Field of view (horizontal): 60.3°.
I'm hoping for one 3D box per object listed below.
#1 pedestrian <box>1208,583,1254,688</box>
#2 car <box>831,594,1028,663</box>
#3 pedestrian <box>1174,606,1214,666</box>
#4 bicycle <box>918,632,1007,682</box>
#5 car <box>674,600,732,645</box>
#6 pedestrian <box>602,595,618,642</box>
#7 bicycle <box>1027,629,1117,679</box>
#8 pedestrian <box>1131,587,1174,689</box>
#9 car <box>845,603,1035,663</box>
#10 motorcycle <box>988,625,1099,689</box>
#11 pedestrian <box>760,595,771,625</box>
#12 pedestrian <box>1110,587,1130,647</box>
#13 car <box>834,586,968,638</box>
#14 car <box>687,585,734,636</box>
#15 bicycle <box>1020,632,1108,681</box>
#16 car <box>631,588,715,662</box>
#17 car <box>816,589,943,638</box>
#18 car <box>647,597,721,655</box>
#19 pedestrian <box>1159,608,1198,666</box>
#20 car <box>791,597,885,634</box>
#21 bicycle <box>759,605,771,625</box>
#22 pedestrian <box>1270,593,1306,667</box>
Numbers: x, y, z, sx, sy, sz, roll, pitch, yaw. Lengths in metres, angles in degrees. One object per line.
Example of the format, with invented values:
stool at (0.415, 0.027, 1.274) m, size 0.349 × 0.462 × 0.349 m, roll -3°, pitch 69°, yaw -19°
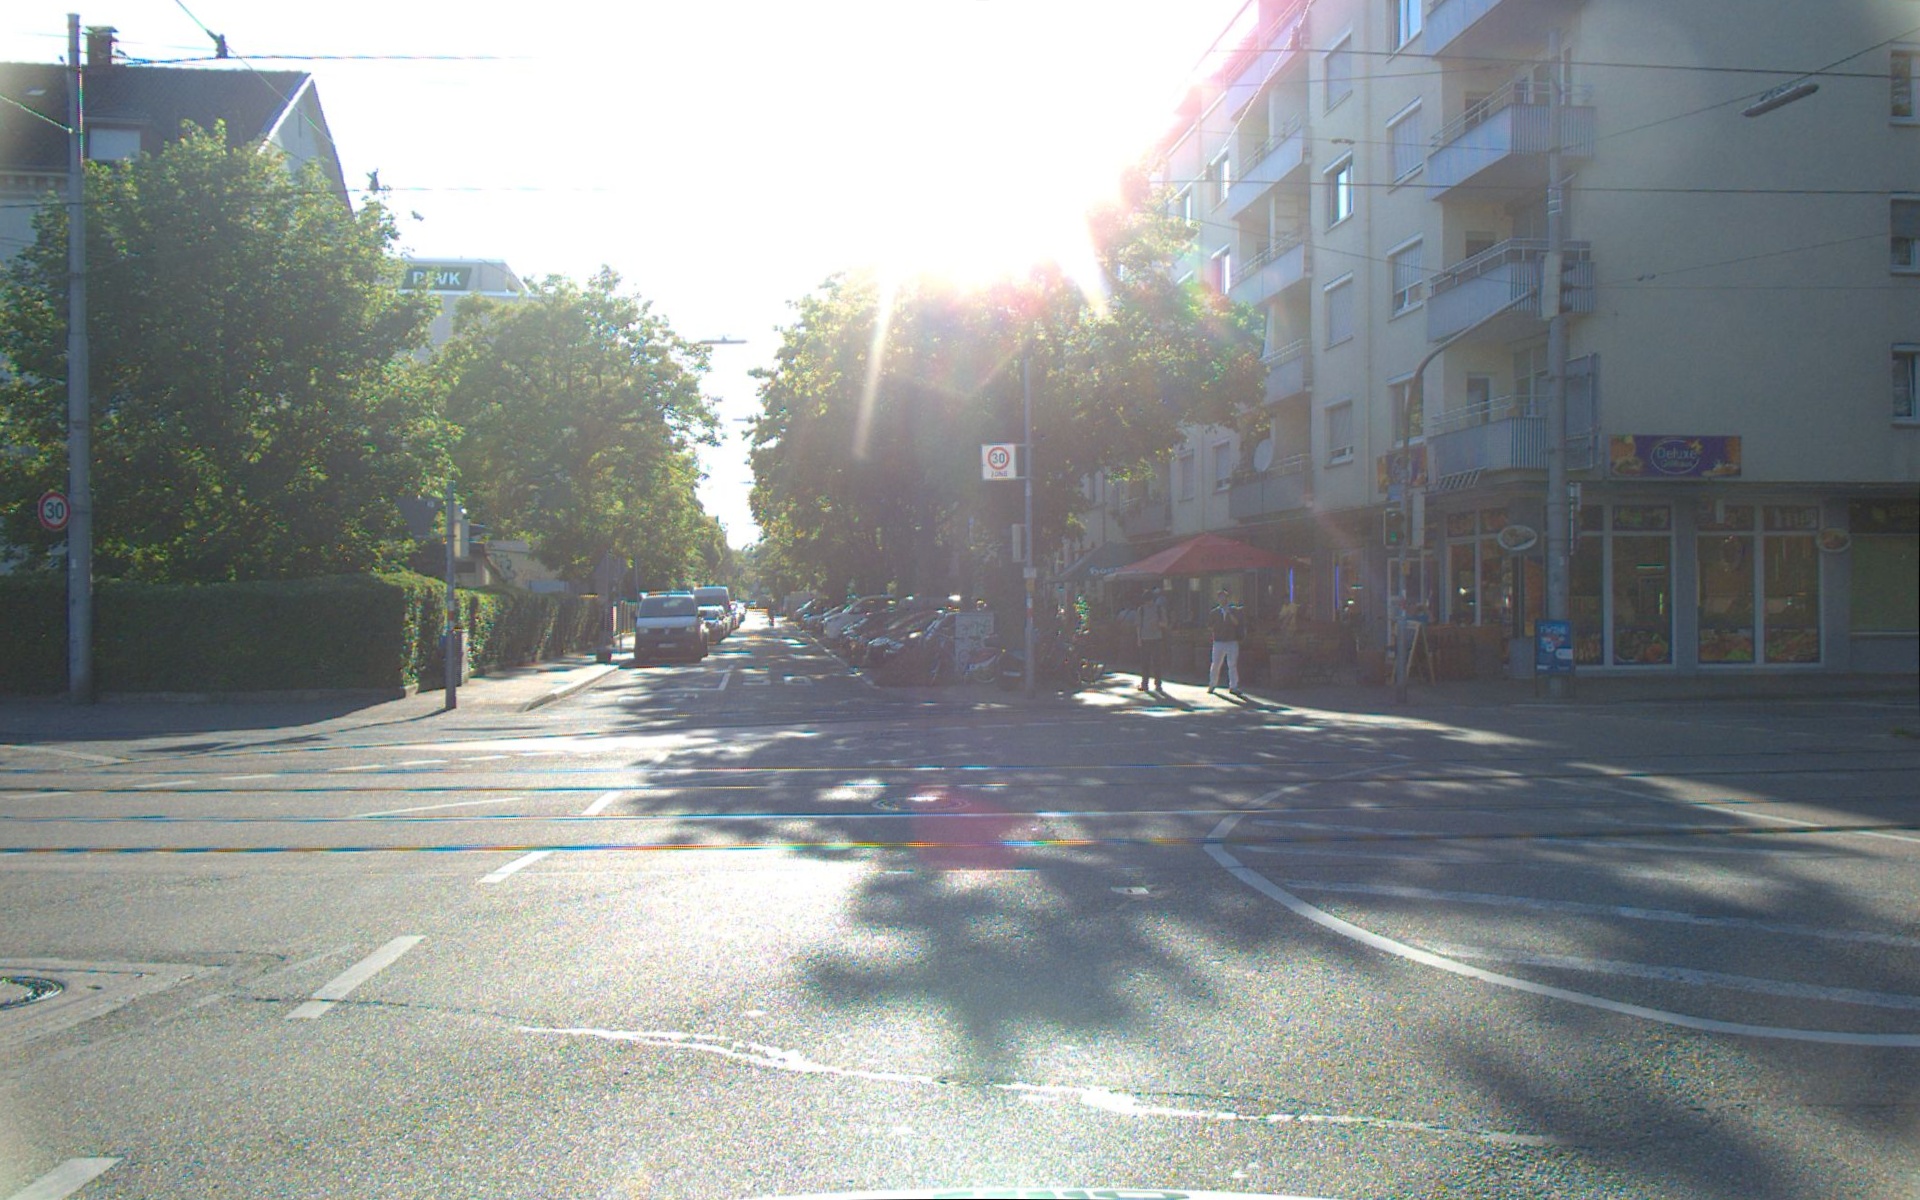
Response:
pedestrian at (4.673, 0.607, 28.529) m, size 0.676 × 1.781 × 0.840 m, roll 0°, pitch 0°, yaw 2°
car at (-0.931, 0.850, 48.855) m, size 5.519 × 1.958 × 2.356 m, roll 0°, pitch -2°, yaw -11°
pedestrian at (5.563, 0.848, 39.346) m, size 0.795 × 1.386 × 0.913 m, roll 0°, pitch 0°, yaw -3°
bicycle at (0.039, 1.119, 32.692) m, size 1.691 × 0.949 × 0.671 m, roll 0°, pitch 0°, yaw -8°
car at (-10.950, 0.912, 70.092) m, size 2.312 × 1.826 × 5.296 m, roll 0°, pitch 0°, yaw -10°
pedestrian at (-13.096, 0.681, 61.873) m, size 0.569 × 1.761 × 0.606 m, roll 0°, pitch 0°, yaw -13°
bicycle at (2.196, 1.062, 32.486) m, size 1.691 × 0.949 × 0.561 m, roll 0°, pitch 0°, yaw -8°
pedestrian at (3.417, 0.666, 29.334) m, size 0.677 × 1.781 × 0.795 m, roll 0°, pitch 0°, yaw 0°
car at (-0.606, 0.936, 46.288) m, size 4.998 × 1.584 × 2.356 m, roll 0°, pitch -2°, yaw -11°
motorcycle at (1.557, 1.054, 30.883) m, size 1.918 × 1.129 × 0.834 m, roll 0°, pitch 0°, yaw -13°
pedestrian at (-13.319, 0.664, 113.186) m, size 0.723 × 2.049 × 0.742 m, roll 0°, pitch 0°, yaw -9°
pedestrian at (5.488, 0.588, 56.683) m, size 0.527 × 2.049 × 0.509 m, roll 0°, pitch 0°, yaw -15°
car at (-2.361, 0.492, 65.459) m, size 4.998 × 1.958 × 2.356 m, roll 0°, pitch -2°, yaw -11°
car at (-12.973, 0.557, 85.815) m, size 2.312 × 2.558 × 5.296 m, roll 0°, pitch 0°, yaw -10°
bicycle at (2.091, 1.137, 33.245) m, size 1.691 × 0.949 × 0.561 m, roll 0°, pitch 0°, yaw -8°
car at (-8.493, 0.702, 48.939) m, size 2.312 × 2.049 × 5.296 m, roll 0°, pitch 0°, yaw -10°
car at (-3.347, 0.584, 68.575) m, size 4.998 × 1.958 × 2.356 m, roll 0°, pitch -2°, yaw -11°
car at (-9.207, 0.825, 55.098) m, size 2.312 × 1.826 × 5.296 m, roll 0°, pitch 0°, yaw -10°
pedestrian at (5.376, 0.899, 40.660) m, size 0.795 × 1.386 × 0.913 m, roll 0°, pitch 0°, yaw -2°
car at (-6.812, 0.871, 91.997) m, size 4.998 × 1.958 × 2.356 m, roll 0°, pitch -2°, yaw -11°
bicycle at (-13.350, 1.014, 113.167) m, size 0.751 × 1.347 × 1.920 m, roll 0°, pitch 0°, yaw -7°
pedestrian at (7.217, 0.648, 36.381) m, size 0.609 × 1.619 × 0.475 m, roll 0°, pitch 0°, yaw -24°
